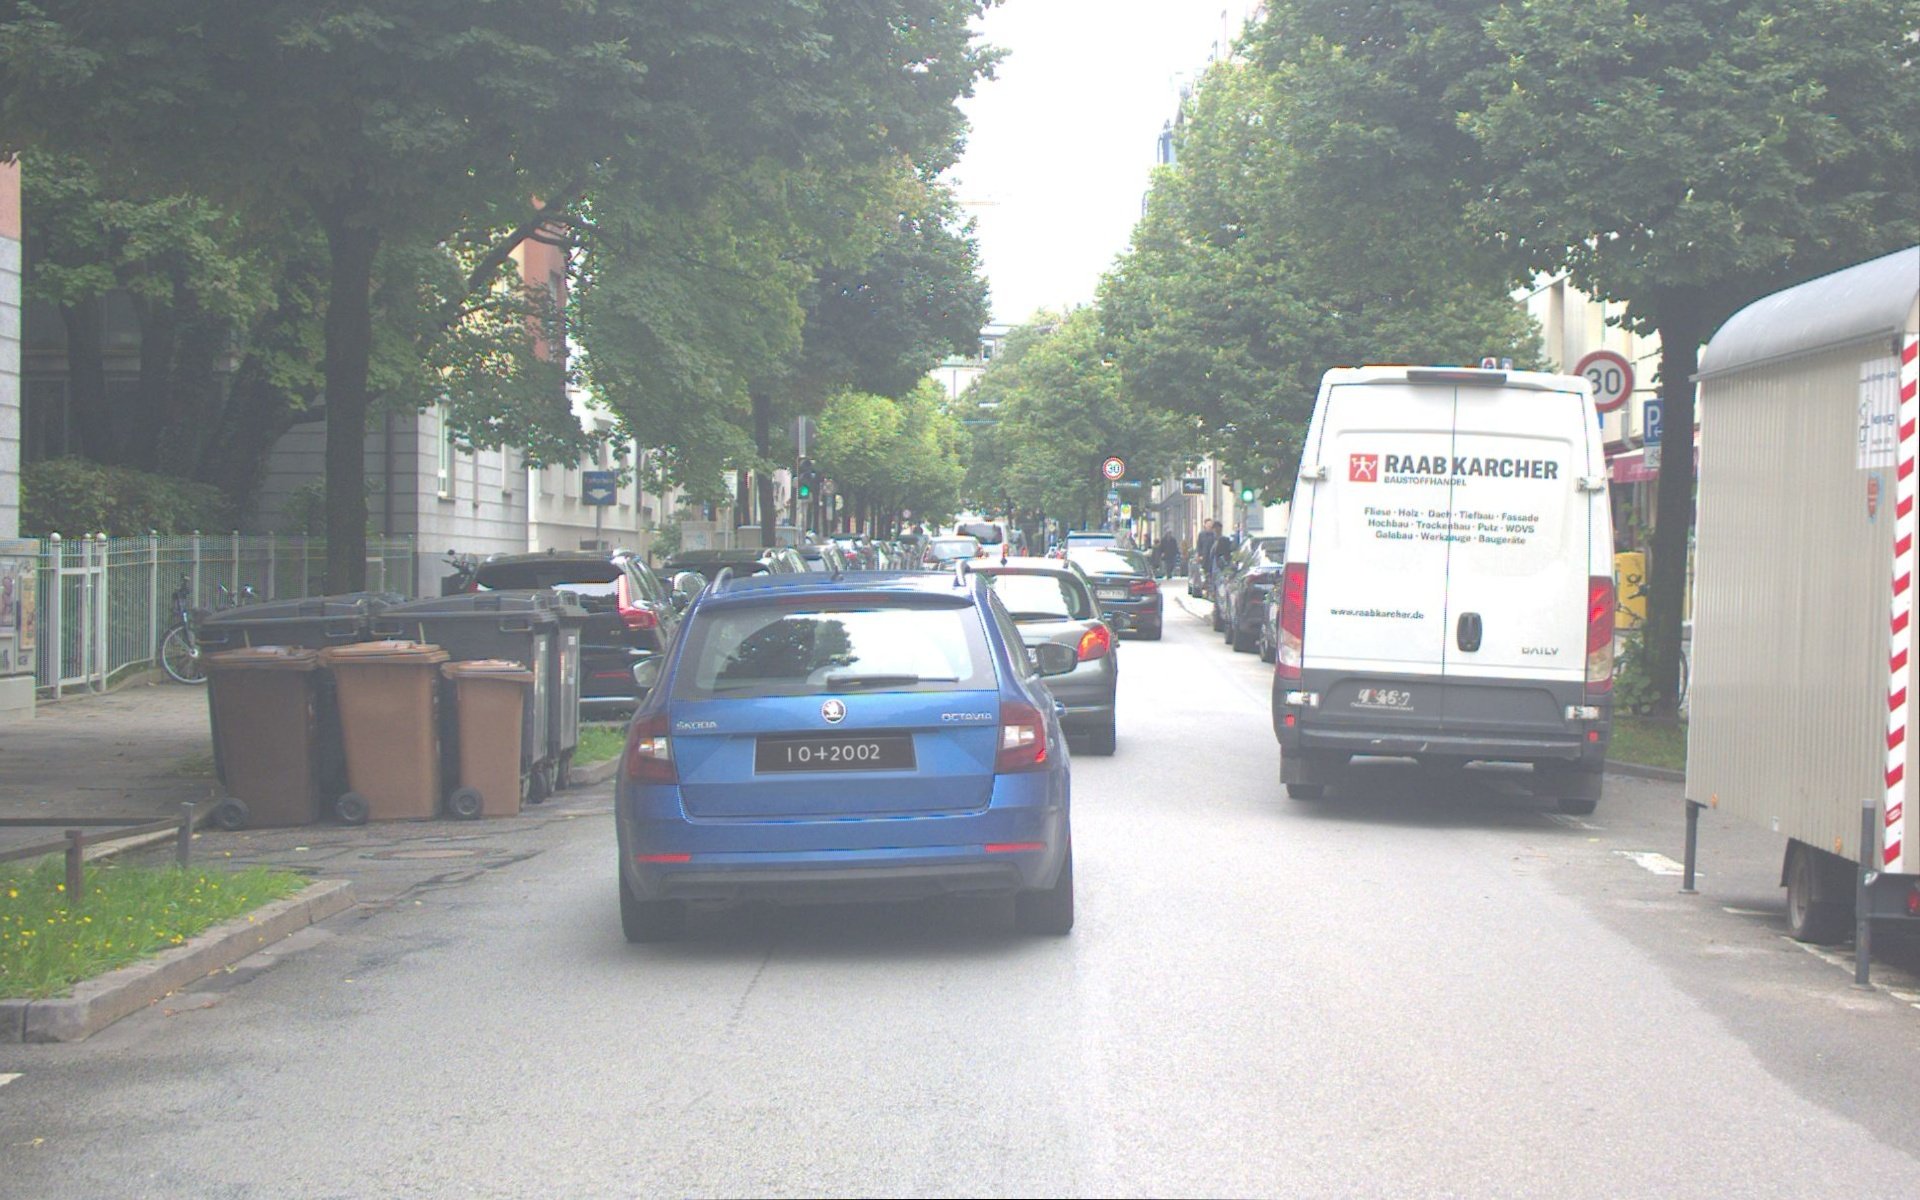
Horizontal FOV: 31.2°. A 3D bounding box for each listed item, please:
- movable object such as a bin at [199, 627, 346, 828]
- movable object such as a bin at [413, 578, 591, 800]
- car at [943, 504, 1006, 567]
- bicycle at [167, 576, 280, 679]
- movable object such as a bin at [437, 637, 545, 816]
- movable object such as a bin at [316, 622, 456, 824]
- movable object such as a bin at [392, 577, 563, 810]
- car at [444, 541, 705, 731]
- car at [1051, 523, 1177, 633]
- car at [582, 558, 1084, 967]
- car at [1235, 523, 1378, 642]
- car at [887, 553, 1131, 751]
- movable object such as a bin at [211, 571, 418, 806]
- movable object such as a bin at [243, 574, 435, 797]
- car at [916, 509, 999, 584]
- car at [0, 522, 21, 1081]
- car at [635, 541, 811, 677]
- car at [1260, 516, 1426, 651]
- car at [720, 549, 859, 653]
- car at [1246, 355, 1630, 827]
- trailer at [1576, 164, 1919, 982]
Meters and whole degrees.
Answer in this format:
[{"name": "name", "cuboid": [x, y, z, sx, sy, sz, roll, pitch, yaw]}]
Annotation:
[{"name": "movable object such as a bin", "cuboid": [-4.084, 0.747, 20.457, 0.721, 1.134, 0.658, -2, 1, -2]}, {"name": "movable object such as a bin", "cuboid": [-2.983, 0.562, 22.501, 1.020, 1.372, 1.104, -2, 1, -3]}, {"name": "car", "cuboid": [0.470, -1.988, 105.773, 1.867, 1.863, 4.347, 1, 1, 1]}, {"name": "bicycle", "cuboid": [-8.069, 0.287, 37.742, 0.635, 1.063, 2.387, -1, 1, 2]}, {"name": "movable object such as a bin", "cuboid": [-2.796, 0.746, 20.547, 0.546, 1.017, 0.636, -2, 1, -2]}, {"name": "movable object such as a bin", "cuboid": [-3.416, 0.725, 20.498, 0.711, 1.144, 0.636, -2, 1, -2]}, {"name": "movable object such as a bin", "cuboid": [-2.989, 0.564, 21.403, 0.918, 1.372, 1.080, -2, 1, -3]}, {"name": "car", "cuboid": [-3.199, 0.250, 29.226, 1.812, 1.473, 4.000, 1, 1, -1]}, {"name": "car", "cuboid": [2.474, -0.393, 56.199, 1.867, 1.690, 4.347, 1, 1, 0]}, {"name": "car", "cuboid": [-0.427, 0.557, 14.449, 1.789, 1.455, 4.314, 0, 1, 1]}, {"name": "car", "cuboid": [5.242, -0.293, 52.455, 1.825, 1.721, 4.000, -1, 1, 1]}, {"name": "car", "cuboid": [0.443, 0.355, 26.543, 1.741, 1.417, 3.663, 0, 1, 3]}, {"name": "movable object such as a bin", "cuboid": [-3.987, 0.530, 21.339, 1.081, 1.372, 1.084, -2, 1, -3]}, {"name": "movable object such as a bin", "cuboid": [-4.040, 0.538, 22.441, 1.057, 1.372, 1.096, -2, 1, -3]}, {"name": "car", "cuboid": [-0.033, -1.281, 81.619, 1.867, 1.690, 4.347, 1, 1, 1]}, {"name": "car", "cuboid": [-3.748, 0.629, 8.103, 1.785, 1.623, 4.185, -1, 1, 2]}, {"name": "car", "cuboid": [-2.704, 0.064, 39.949, 1.812, 1.473, 4.000, 1, 1, -1]}, {"name": "car", "cuboid": [5.104, -0.253, 46.238, 1.825, 1.721, 4.000, -1, 1, 1]}, {"name": "car", "cuboid": [-2.538, -0.015, 51.990, 1.812, 1.473, 4.000, 1, 1, 1]}, {"name": "car", "cuboid": [3.069, -0.071, 22.464, 2.113, 2.654, 5.498, 2, 0, 7]}, {"name": "trailer", "cuboid": [4.591, -0.087, 15.334, 2.502, 2.830, 6.901, 1, 0, 1]}]
